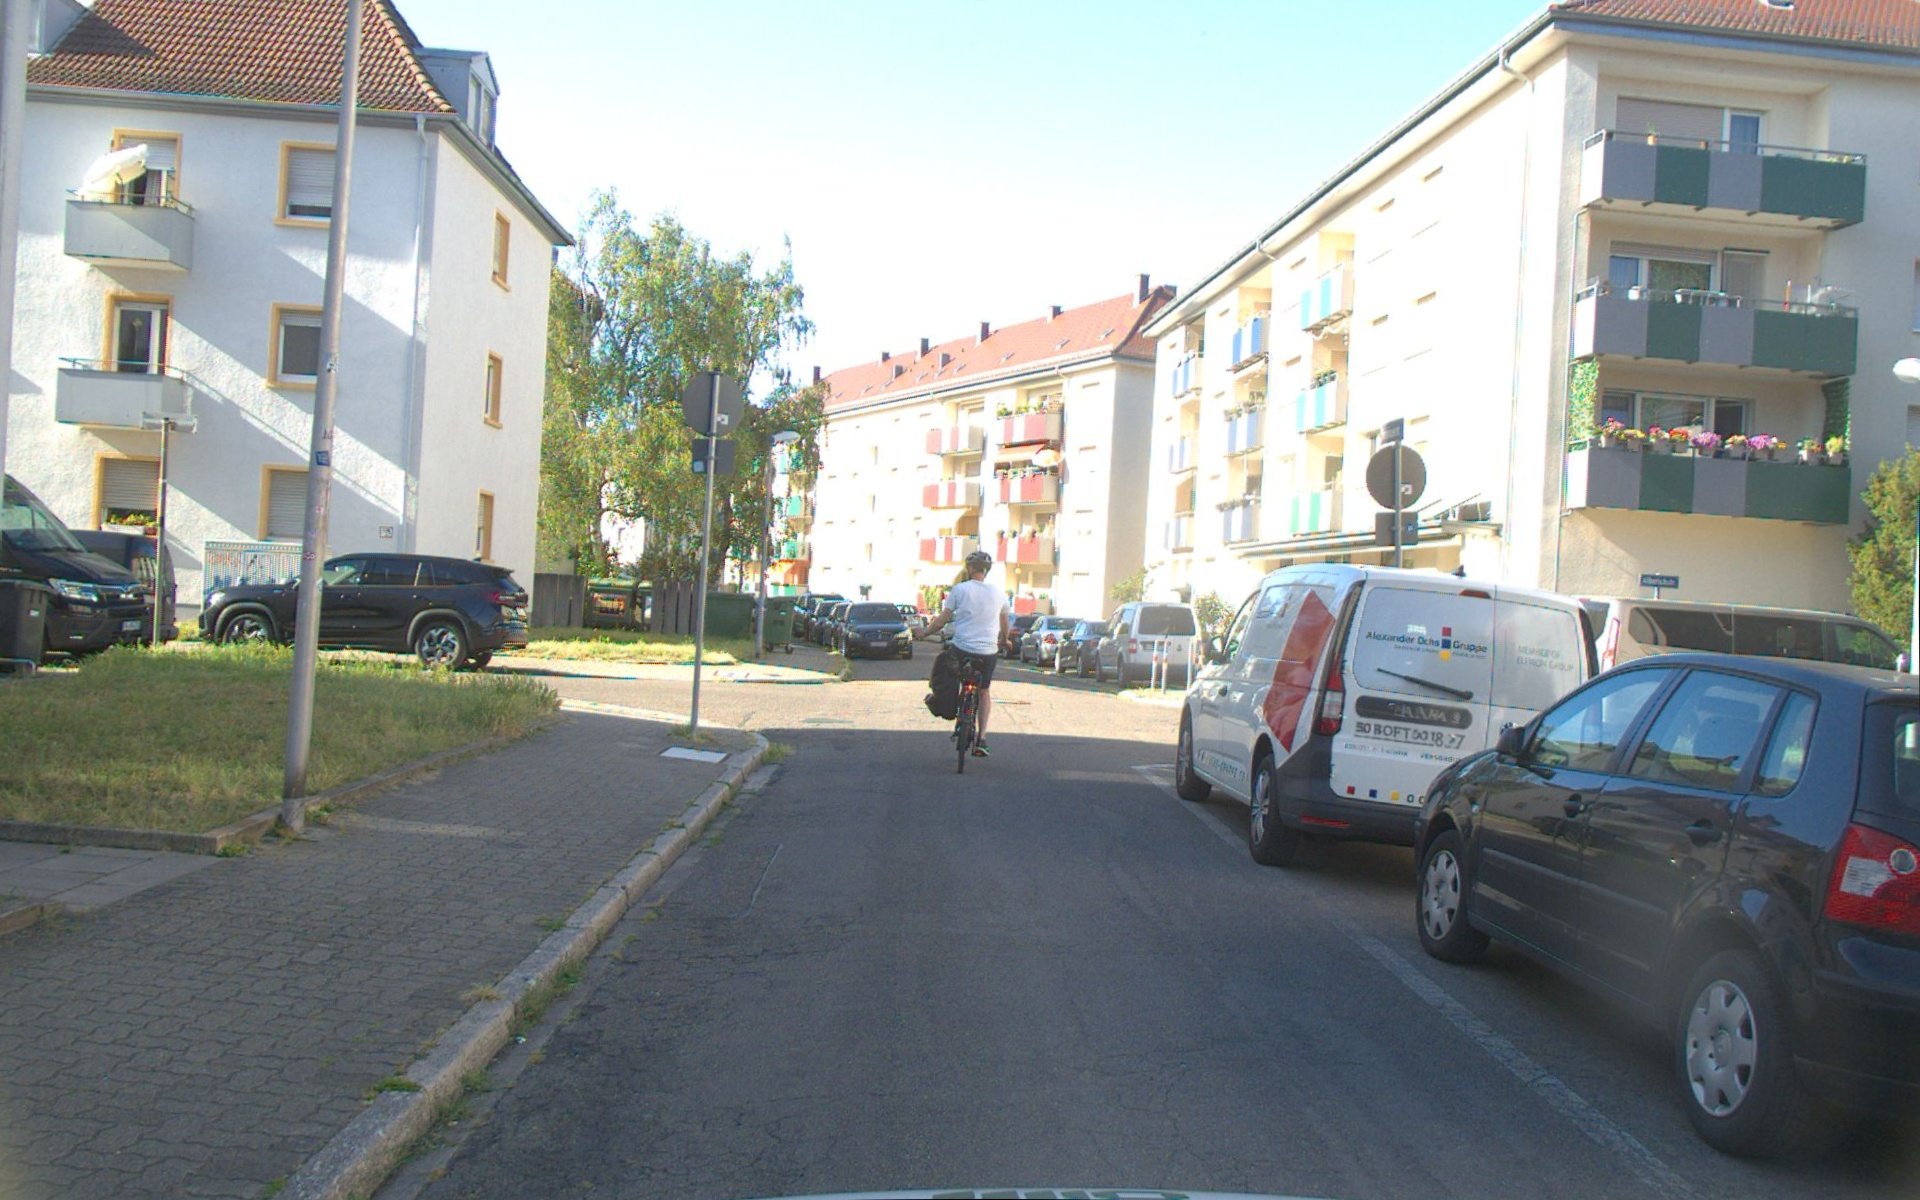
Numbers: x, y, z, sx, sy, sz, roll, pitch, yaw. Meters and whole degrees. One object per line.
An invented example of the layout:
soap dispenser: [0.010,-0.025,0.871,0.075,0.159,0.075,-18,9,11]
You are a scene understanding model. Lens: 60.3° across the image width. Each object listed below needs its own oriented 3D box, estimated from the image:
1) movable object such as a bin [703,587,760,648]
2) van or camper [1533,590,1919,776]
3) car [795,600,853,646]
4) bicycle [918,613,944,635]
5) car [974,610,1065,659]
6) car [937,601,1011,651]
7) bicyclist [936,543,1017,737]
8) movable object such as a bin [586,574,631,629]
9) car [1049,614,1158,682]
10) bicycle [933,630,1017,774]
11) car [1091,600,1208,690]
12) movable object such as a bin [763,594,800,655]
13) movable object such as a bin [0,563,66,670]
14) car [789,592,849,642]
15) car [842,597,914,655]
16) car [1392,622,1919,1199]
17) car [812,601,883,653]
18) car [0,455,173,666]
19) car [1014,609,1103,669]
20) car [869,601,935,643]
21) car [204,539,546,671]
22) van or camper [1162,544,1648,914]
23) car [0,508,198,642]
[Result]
movable object such as a bin: [-5.567,0.426,40.339,1.195,1.404,0.767,4,-1,1]
van or camper: [10.492,1.073,21.884,5.022,2.048,1.999,4,1,-4]
car: [-4.506,0.739,54.512,1.527,1.468,3.958,1,0,-10]
bicycle: [-1.441,1.191,82.329,0.609,0.995,1.883,0,2,-23]
car: [1.885,1.077,53.682,1.665,1.456,4.669,2,-1,-15]
car: [0.479,1.002,60.791,1.665,1.685,4.373,2,-3,-14]
bicyclist: [0.153,0.341,14.338,0.583,1.606,0.907,2,-1,4]
movable object such as a bin: [-9.638,0.030,45.412,1.039,1.460,1.002,2,0,-4]
car: [3.578,1.187,42.034,1.647,1.431,4.536,4,0,-9]
bicycle: [0.152,0.846,14.315,0.614,1.134,1.817,-1,-1,3]
car: [4.111,0.946,36.521,1.713,1.856,4.126,1,0,-6]
movable object such as a bin: [-4.312,0.582,40.067,0.760,1.417,1.416,3,-1,-4]
movable object such as a bin: [-9.469,0.155,16.557,0.600,1.009,0.714,4,0,-3]
car: [-5.145,0.584,59.990,1.529,1.744,4.322,1,0,-13]
car: [-2.265,0.668,44.601,1.646,1.478,4.614,1,0,-6]
car: [2.999,0.919,6.035,1.542,1.441,3.785,6,0,-3]
car: [-3.390,0.764,49.314,1.647,1.468,4.269,1,0,-10]
car: [-13.682,-0.565,21.493,5.822,2.589,1.999,2,0,-3]
car: [2.806,1.092,48.272,1.646,1.472,4.716,4,0,-7]
car: [-2.602,0.942,73.018,1.740,1.664,4.017,2,1,-20]
car: [-8.632,0.101,24.697,4.398,1.693,1.718,3,-2,-2]
van or camper: [2.685,0.695,11.250,1.757,1.777,4.733,7,0,-1]
car: [-13.690,-0.381,24.482,3.910,1.820,1.718,3,-2,-2]
